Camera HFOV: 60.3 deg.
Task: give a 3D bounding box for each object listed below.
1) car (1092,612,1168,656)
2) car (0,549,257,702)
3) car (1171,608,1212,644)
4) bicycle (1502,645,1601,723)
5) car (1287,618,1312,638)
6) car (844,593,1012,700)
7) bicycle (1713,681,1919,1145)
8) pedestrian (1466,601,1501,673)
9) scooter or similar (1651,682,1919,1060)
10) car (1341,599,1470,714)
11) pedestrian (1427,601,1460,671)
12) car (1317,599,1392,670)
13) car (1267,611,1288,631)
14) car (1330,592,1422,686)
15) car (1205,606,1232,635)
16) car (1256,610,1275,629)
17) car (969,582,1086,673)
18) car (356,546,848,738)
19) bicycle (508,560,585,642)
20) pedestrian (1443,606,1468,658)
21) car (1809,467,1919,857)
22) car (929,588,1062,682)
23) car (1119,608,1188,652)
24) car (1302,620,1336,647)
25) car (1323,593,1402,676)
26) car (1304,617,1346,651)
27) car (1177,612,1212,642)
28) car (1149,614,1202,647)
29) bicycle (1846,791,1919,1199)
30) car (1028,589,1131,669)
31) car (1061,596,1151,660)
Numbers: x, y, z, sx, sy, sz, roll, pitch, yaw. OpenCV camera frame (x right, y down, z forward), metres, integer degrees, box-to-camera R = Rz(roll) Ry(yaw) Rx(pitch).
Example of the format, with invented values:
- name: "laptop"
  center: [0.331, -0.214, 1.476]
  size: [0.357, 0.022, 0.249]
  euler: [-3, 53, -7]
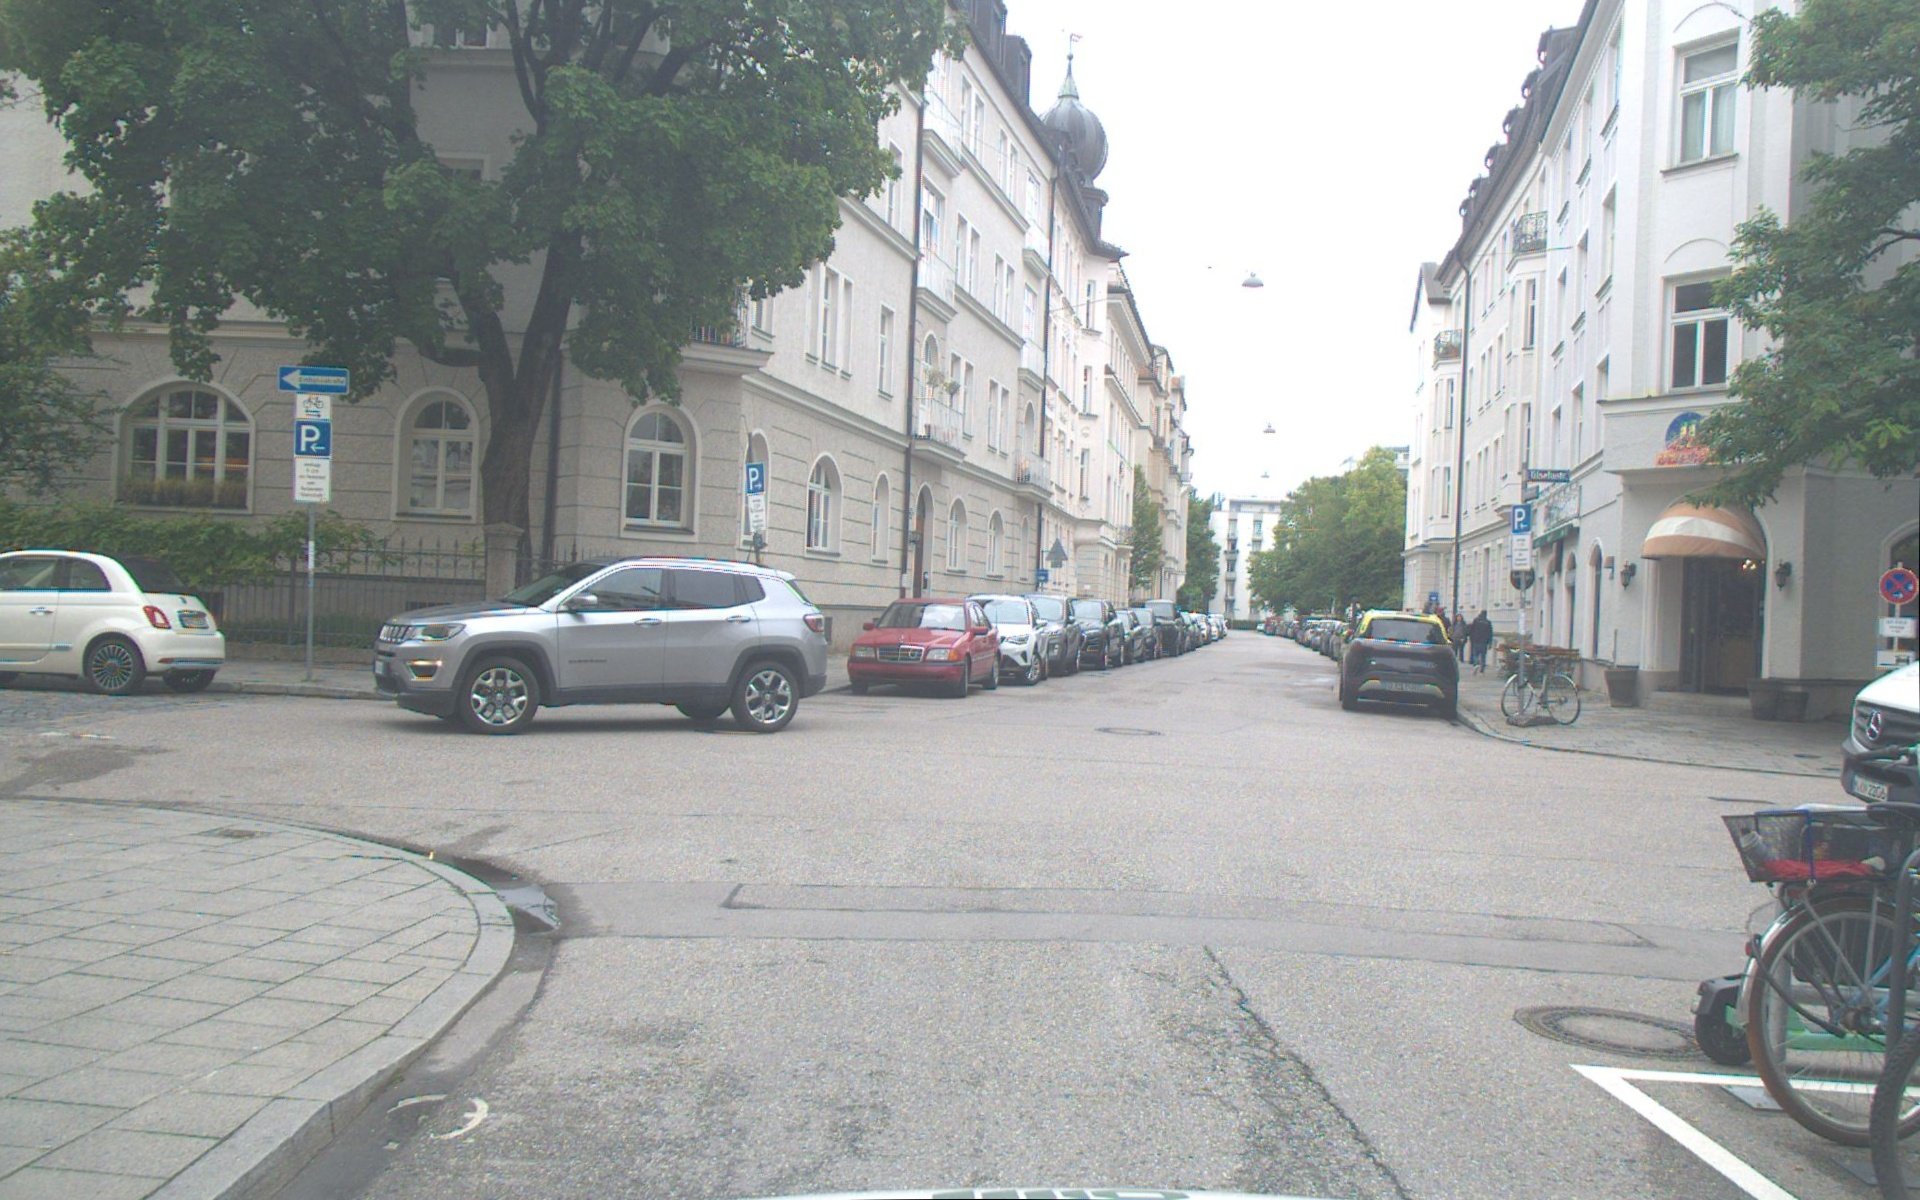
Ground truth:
- name: "car"
  center: [5.317, 1.026, 51.392]
  size: [1.866, 1.243, 4.003]
  euler: [2, 0, 13]
- name: "car"
  center: [-9.959, 0.209, 17.924]
  size: [3.904, 1.474, 1.686]
  euler: [3, 0, 4]
- name: "car"
  center: [11.073, 1.208, 78.864]
  size: [1.782, 1.601, 4.003]
  euler: [2, 0, 9]
- name: "bicycle"
  center: [8.619, 1.205, 24.158]
  size: [0.529, 1.016, 1.751]
  euler: [-1, 1, -11]
- name: "car"
  center: [28.818, 2.358, 140.311]
  size: [1.908, 1.681, 4.003]
  euler: [1, 0, 10]
- name: "car"
  center: [-0.386, 0.658, 25.018]
  size: [1.694, 1.402, 4.230]
  euler: [2, 0, 10]
- name: "bicycle"
  center: [3.130, 0.946, 5.033]
  size: [1.427, 1.307, 0.445]
  euler: [3, 0, -1]
- name: "pedestrian"
  center: [14.176, 0.991, 44.793]
  size: [0.761, 1.883, 1.023]
  euler: [2, 0, 13]
- name: "scooter or similar"
  center: [3.208, 0.945, 5.833]
  size: [1.325, 1.231, 0.417]
  euler: [2, 0, 0]
- name: "car"
  center: [7.498, 0.902, 28.185]
  size: [1.782, 1.664, 4.292]
  euler: [4, 0, 12]
- name: "pedestrian"
  center: [13.264, 0.976, 45.398]
  size: [0.761, 1.883, 1.023]
  euler: [2, 0, 13]
- name: "car"
  center: [11.553, 0.982, 48.418]
  size: [1.951, 1.889, 4.348]
  euler: [3, 0, 14]
- name: "car"
  center: [34.391, 2.213, 179.394]
  size: [1.951, 2.017, 4.897]
  euler: [3, 0, 8]
- name: "car"
  center: [9.570, 0.869, 38.297]
  size: [1.782, 1.903, 4.292]
  euler: [4, 0, 12]
- name: "car"
  center: [19.290, 1.519, 123.197]
  size: [1.807, 2.049, 4.003]
  euler: [2, 0, 10]
- name: "car"
  center: [35.006, 2.186, 189.666]
  size: [1.951, 2.017, 4.897]
  euler: [3, 0, 8]
- name: "car"
  center: [1.479, 0.544, 34.575]
  size: [1.951, 1.705, 4.015]
  euler: [2, 0, 9]
- name: "car"
  center: [-3.431, 0.395, 16.086]
  size: [4.255, 1.635, 1.941]
  euler: [2, 0, -33]
- name: "bicycle"
  center: [-5.781, -0.006, 23.207]
  size: [0.483, 1.070, 1.828]
  euler: [2, 2, 4]
- name: "pedestrian"
  center: [18.404, 1.185, 61.441]
  size: [0.762, 1.883, 0.859]
  euler: [2, 0, 20]
- name: "car"
  center: [9.416, 0.526, 11.549]
  size: [5.770, 2.636, 2.061]
  euler: [3, 1, 3]
- name: "car"
  center: [0.715, 0.591, 29.781]
  size: [1.951, 1.499, 4.221]
  euler: [2, 0, 7]
- name: "car"
  center: [6.595, 1.004, 56.082]
  size: [1.866, 1.352, 4.003]
  euler: [2, 0, 13]
- name: "car"
  center: [20.761, 1.905, 95.790]
  size: [1.693, 1.442, 3.855]
  euler: [2, 0, 10]
- name: "car"
  center: [10.615, 0.893, 43.835]
  size: [1.782, 1.956, 4.187]
  euler: [4, 0, 12]
- name: "car"
  center: [18.798, 1.730, 85.233]
  size: [1.866, 1.604, 4.003]
  euler: [2, 0, 10]
- name: "car"
  center: [12.047, 1.362, 84.750]
  size: [1.697, 1.444, 4.003]
  euler: [2, 0, 9]
- name: "car"
  center: [8.814, 1.219, 67.496]
  size: [1.866, 1.243, 4.003]
  euler: [2, 0, 11]
- name: "bicycle"
  center: [2.971, 1.058, 4.019]
  size: [1.424, 1.088, 0.462]
  euler: [3, 0, -9]
- name: "car"
  center: [2.897, 0.653, 39.268]
  size: [1.951, 1.705, 4.292]
  euler: [2, 0, 10]
- name: "car"
  center: [4.065, 0.749, 45.481]
  size: [1.885, 1.573, 4.003]
  euler: [3, 0, 13]
